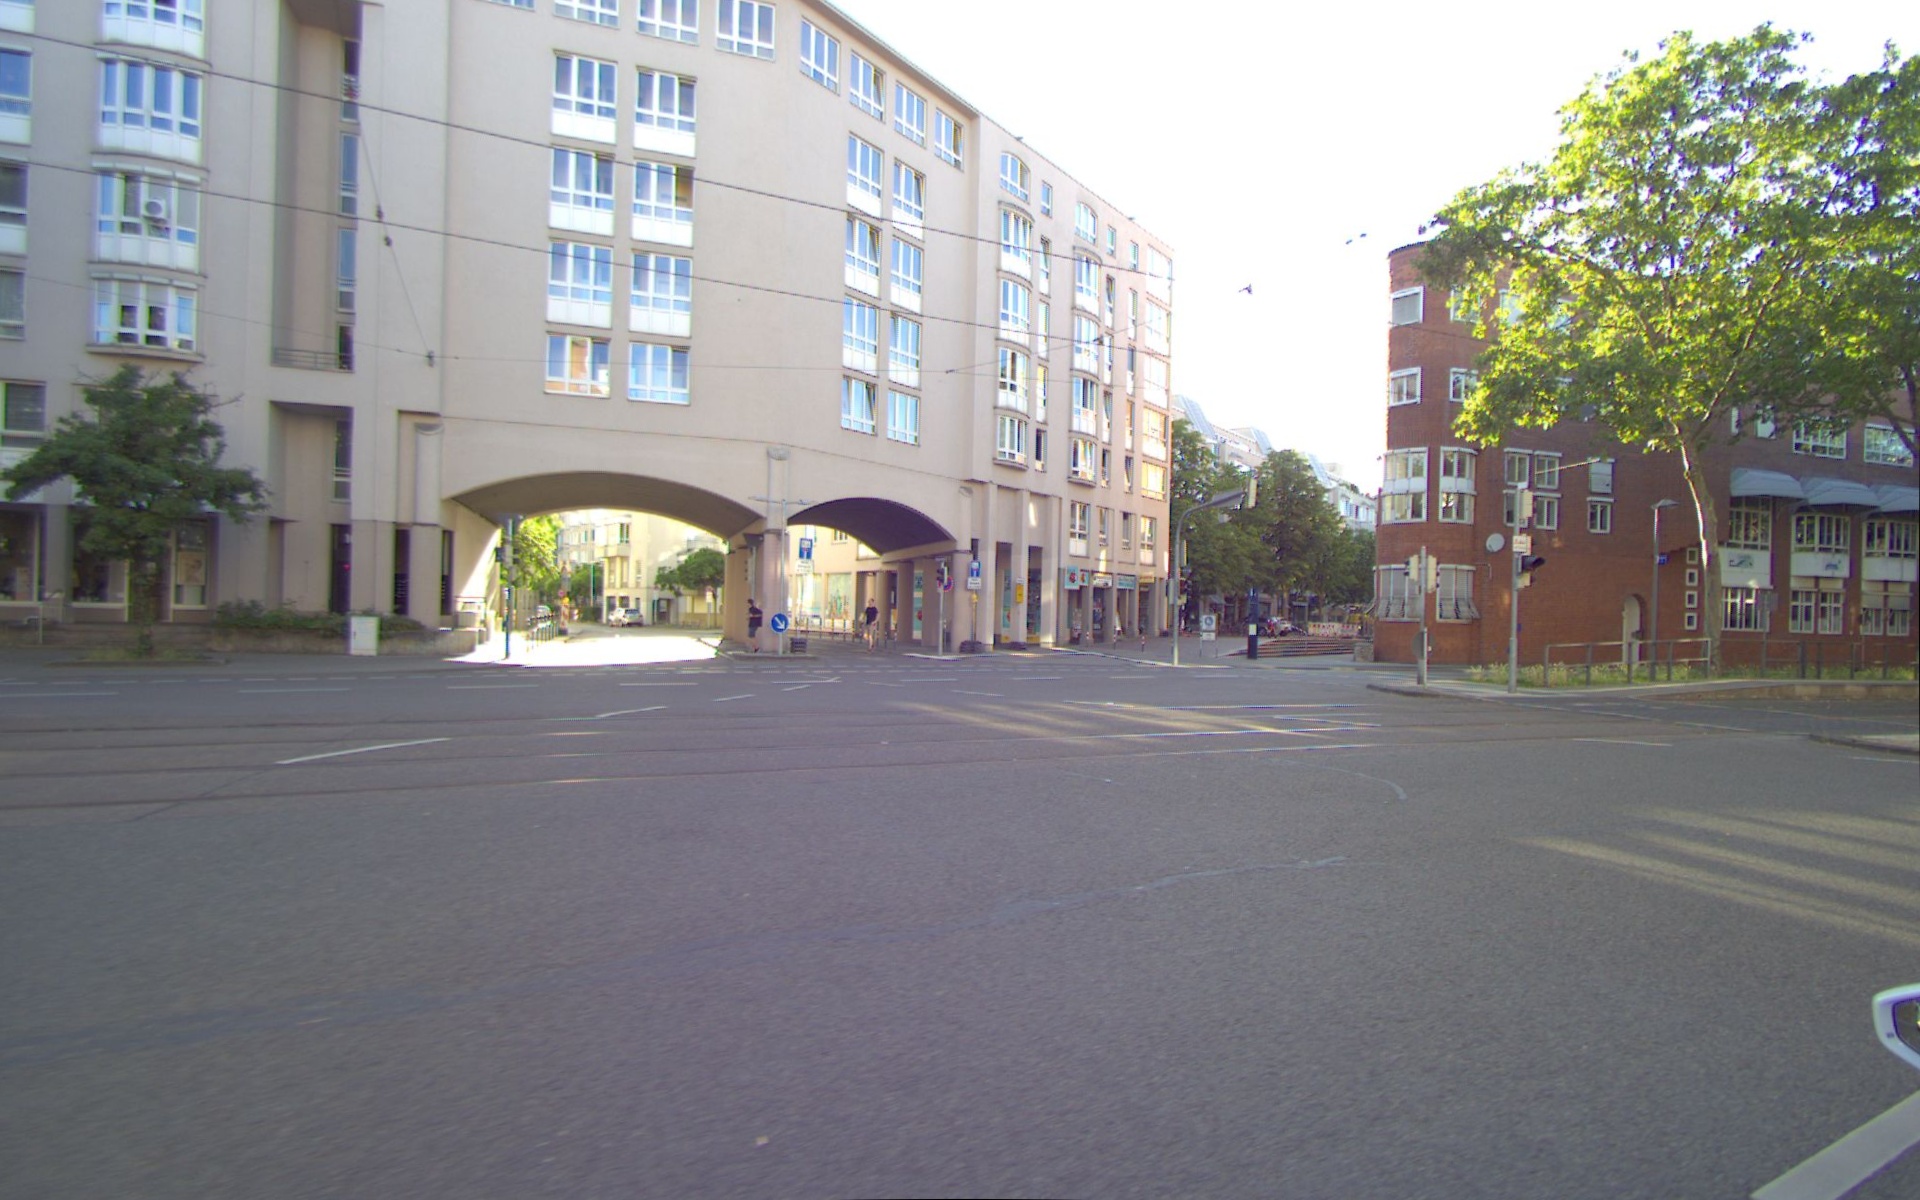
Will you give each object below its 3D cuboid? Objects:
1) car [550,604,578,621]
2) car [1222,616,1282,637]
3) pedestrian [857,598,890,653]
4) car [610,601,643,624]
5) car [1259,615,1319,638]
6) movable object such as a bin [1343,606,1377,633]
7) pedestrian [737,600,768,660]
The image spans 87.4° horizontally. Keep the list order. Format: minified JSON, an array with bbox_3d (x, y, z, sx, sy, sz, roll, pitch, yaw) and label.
[{"bbox_3d":[-36.092,1.139,91.596,1.668,1.413,3.621,2,-1,-33],"label":"car"},{"bbox_3d":[21.711,1.983,74.672,3.926,1.419,1.998,1,0,27],"label":"car"},{"bbox_3d":[-3.228,0.944,37.578,0.824,2.040,0.883,1,0,40],"label":"pedestrian"},{"bbox_3d":[-26.672,0.998,80.286,1.876,1.752,3.626,2,-1,-29],"label":"car"},{"bbox_3d":[25.139,2.028,76.857,3.938,1.576,1.992,2,0,-19],"label":"car"},{"bbox_3d":[35.900,1.776,90.135,2.770,2.341,1.907,2,0,-44],"label":"movable object such as a bin"},{"bbox_3d":[-6.623,0.951,32.029,0.743,1.894,0.851,1,0,-29],"label":"pedestrian"}]
